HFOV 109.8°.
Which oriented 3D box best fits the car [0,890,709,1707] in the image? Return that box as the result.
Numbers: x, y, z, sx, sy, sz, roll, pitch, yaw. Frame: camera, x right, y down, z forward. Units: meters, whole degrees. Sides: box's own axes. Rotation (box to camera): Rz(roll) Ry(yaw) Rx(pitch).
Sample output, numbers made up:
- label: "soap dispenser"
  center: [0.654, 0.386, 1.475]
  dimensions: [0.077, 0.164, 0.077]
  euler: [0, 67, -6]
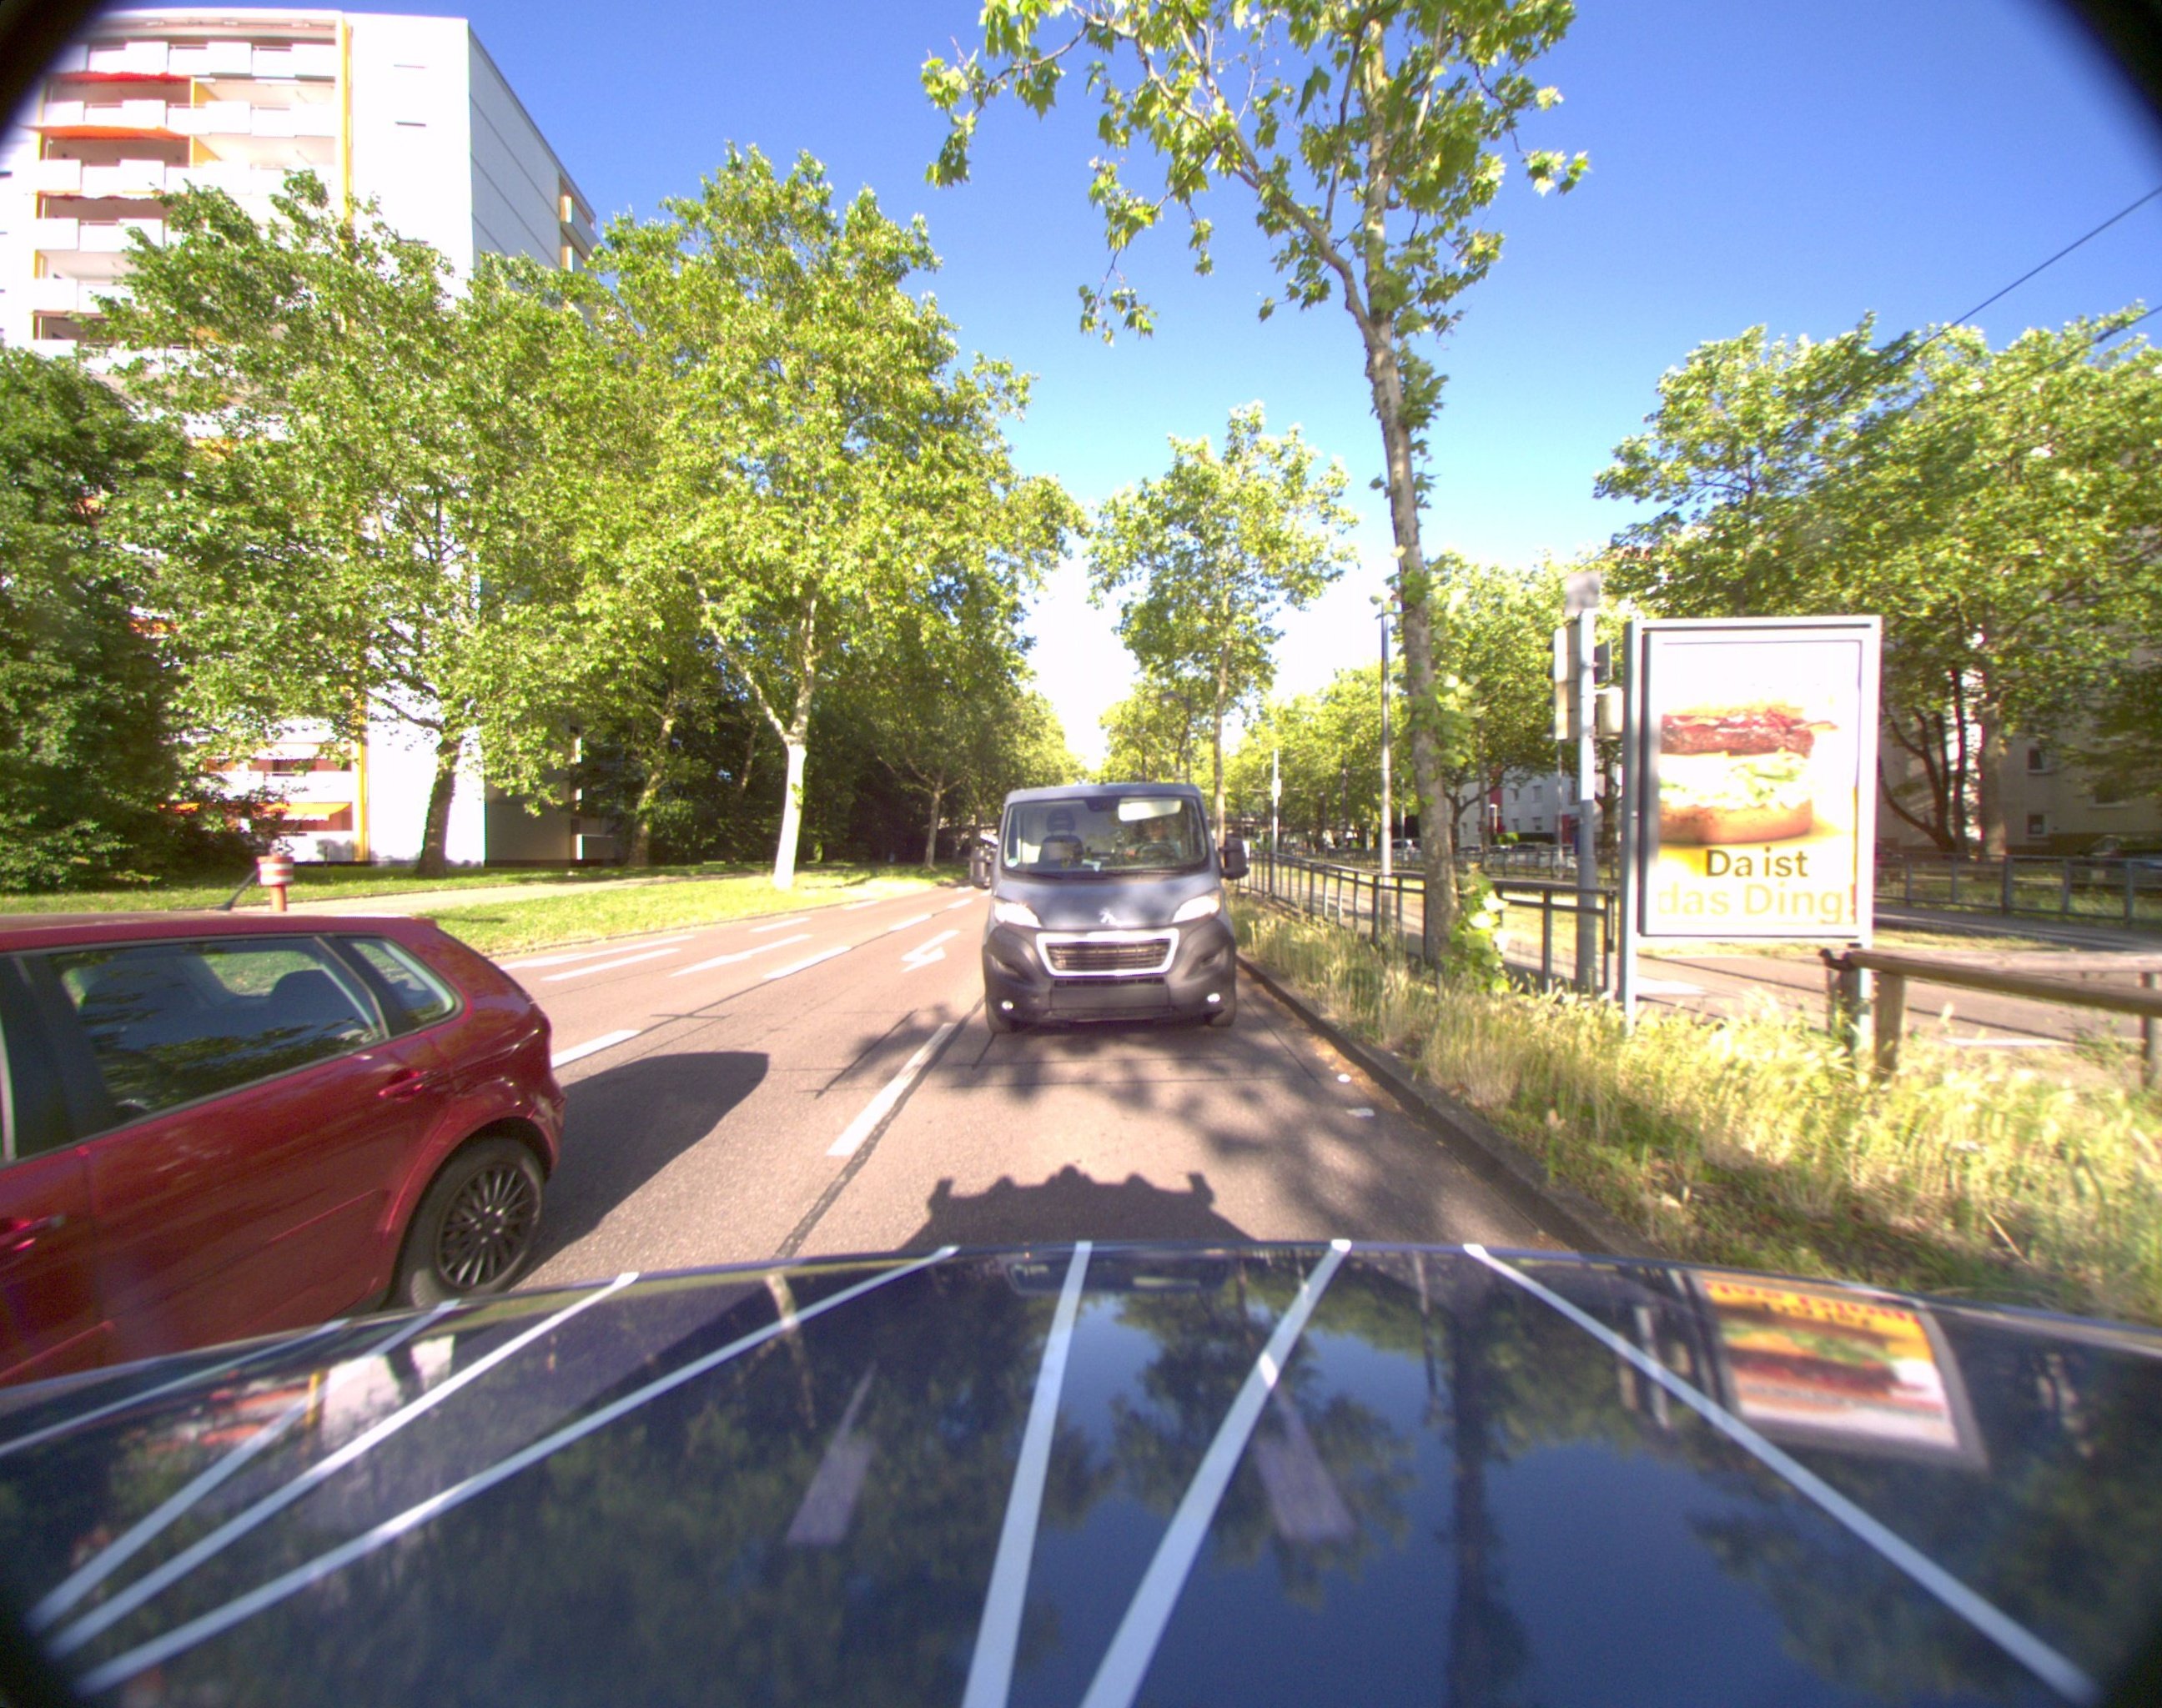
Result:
- label: "car"
  center: [-2.963, 0.990, 1.636]
  dimensions: [1.771, 1.549, 4.727]
  euler: [-1, 0, 3]

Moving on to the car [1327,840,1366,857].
- label: "car"
  center: [25.916, -0.558, 74.192]
  dimensions: [4.057, 1.490, 1.791]
  euler: [-2, 0, -41]

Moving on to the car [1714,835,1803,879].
- label: "car"
  center: [25.163, 0.077, 28.175]
  dimensions: [4.057, 1.490, 1.791]
  euler: [-2, 0, -38]

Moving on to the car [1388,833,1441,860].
- label: "car"
  center: [25.681, -0.593, 58.526]
  dimensions: [4.441, 1.908, 2.016]
  euler: [-2, 0, -41]

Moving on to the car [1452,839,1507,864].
- label: "car"
  center: [25.839, -0.172, 49.173]
  dimensions: [4.057, 1.490, 1.791]
  euler: [-2, 0, -41]

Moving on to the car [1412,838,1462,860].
- label: "car"
  center: [26.117, -0.356, 55.648]
  dimensions: [4.057, 1.490, 1.791]
  euler: [-2, 0, -41]

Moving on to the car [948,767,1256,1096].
- label: "car"
  center: [0.173, 0.491, 7.957]
  dimensions: [2.040, 2.191, 5.660]
  euler: [-1, 1, 1]

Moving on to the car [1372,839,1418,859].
- label: "car"
  center: [25.609, -0.411, 61.878]
  dimensions: [4.057, 1.490, 1.791]
  euler: [-2, 0, -41]

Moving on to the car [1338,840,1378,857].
- label: "car"
  center: [25.846, -0.528, 70.815]
  dimensions: [4.057, 1.490, 1.791]
  euler: [-2, 0, -41]

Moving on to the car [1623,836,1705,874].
- label: "car"
  center: [24.622, 0.029, 32.054]
  dimensions: [4.057, 1.490, 1.791]
  euler: [-2, 0, -38]

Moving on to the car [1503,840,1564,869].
- label: "car"
  center: [25.795, 0.026, 43.228]
  dimensions: [4.057, 1.490, 1.791]
  euler: [-2, 0, -41]

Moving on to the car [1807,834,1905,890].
- label: "car"
  center: [25.200, 0.227, 24.672]
  dimensions: [4.057, 1.654, 1.791]
  euler: [-2, 0, -38]

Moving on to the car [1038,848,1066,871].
- label: "car"
  center: [-2.126, 0.355, 55.432]
  dimensions: [1.914, 1.549, 4.725]
  euler: [-1, 0, -3]

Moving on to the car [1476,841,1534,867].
- label: "car"
  center: [25.932, -0.012, 46.424]
  dimensions: [4.057, 1.490, 1.791]
  euler: [-2, 0, -41]

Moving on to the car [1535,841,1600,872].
- label: "car"
  center: [25.275, 0.102, 39.413]
  dimensions: [4.057, 1.490, 1.791]
  euler: [-2, 0, -41]

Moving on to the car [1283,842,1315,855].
- label: "car"
  center: [26.270, -0.701, 91.579]
  dimensions: [4.057, 1.490, 1.791]
  euler: [-2, 0, -41]

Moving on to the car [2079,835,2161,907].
- label: "car"
  center: [24.650, 0.333, 17.569]
  dimensions: [4.057, 1.490, 1.791]
  euler: [-2, 0, -38]

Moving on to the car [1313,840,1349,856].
- label: "car"
  center: [26.665, -0.645, 80.852]
  dimensions: [4.057, 1.490, 1.791]
  euler: [-2, 0, -41]
